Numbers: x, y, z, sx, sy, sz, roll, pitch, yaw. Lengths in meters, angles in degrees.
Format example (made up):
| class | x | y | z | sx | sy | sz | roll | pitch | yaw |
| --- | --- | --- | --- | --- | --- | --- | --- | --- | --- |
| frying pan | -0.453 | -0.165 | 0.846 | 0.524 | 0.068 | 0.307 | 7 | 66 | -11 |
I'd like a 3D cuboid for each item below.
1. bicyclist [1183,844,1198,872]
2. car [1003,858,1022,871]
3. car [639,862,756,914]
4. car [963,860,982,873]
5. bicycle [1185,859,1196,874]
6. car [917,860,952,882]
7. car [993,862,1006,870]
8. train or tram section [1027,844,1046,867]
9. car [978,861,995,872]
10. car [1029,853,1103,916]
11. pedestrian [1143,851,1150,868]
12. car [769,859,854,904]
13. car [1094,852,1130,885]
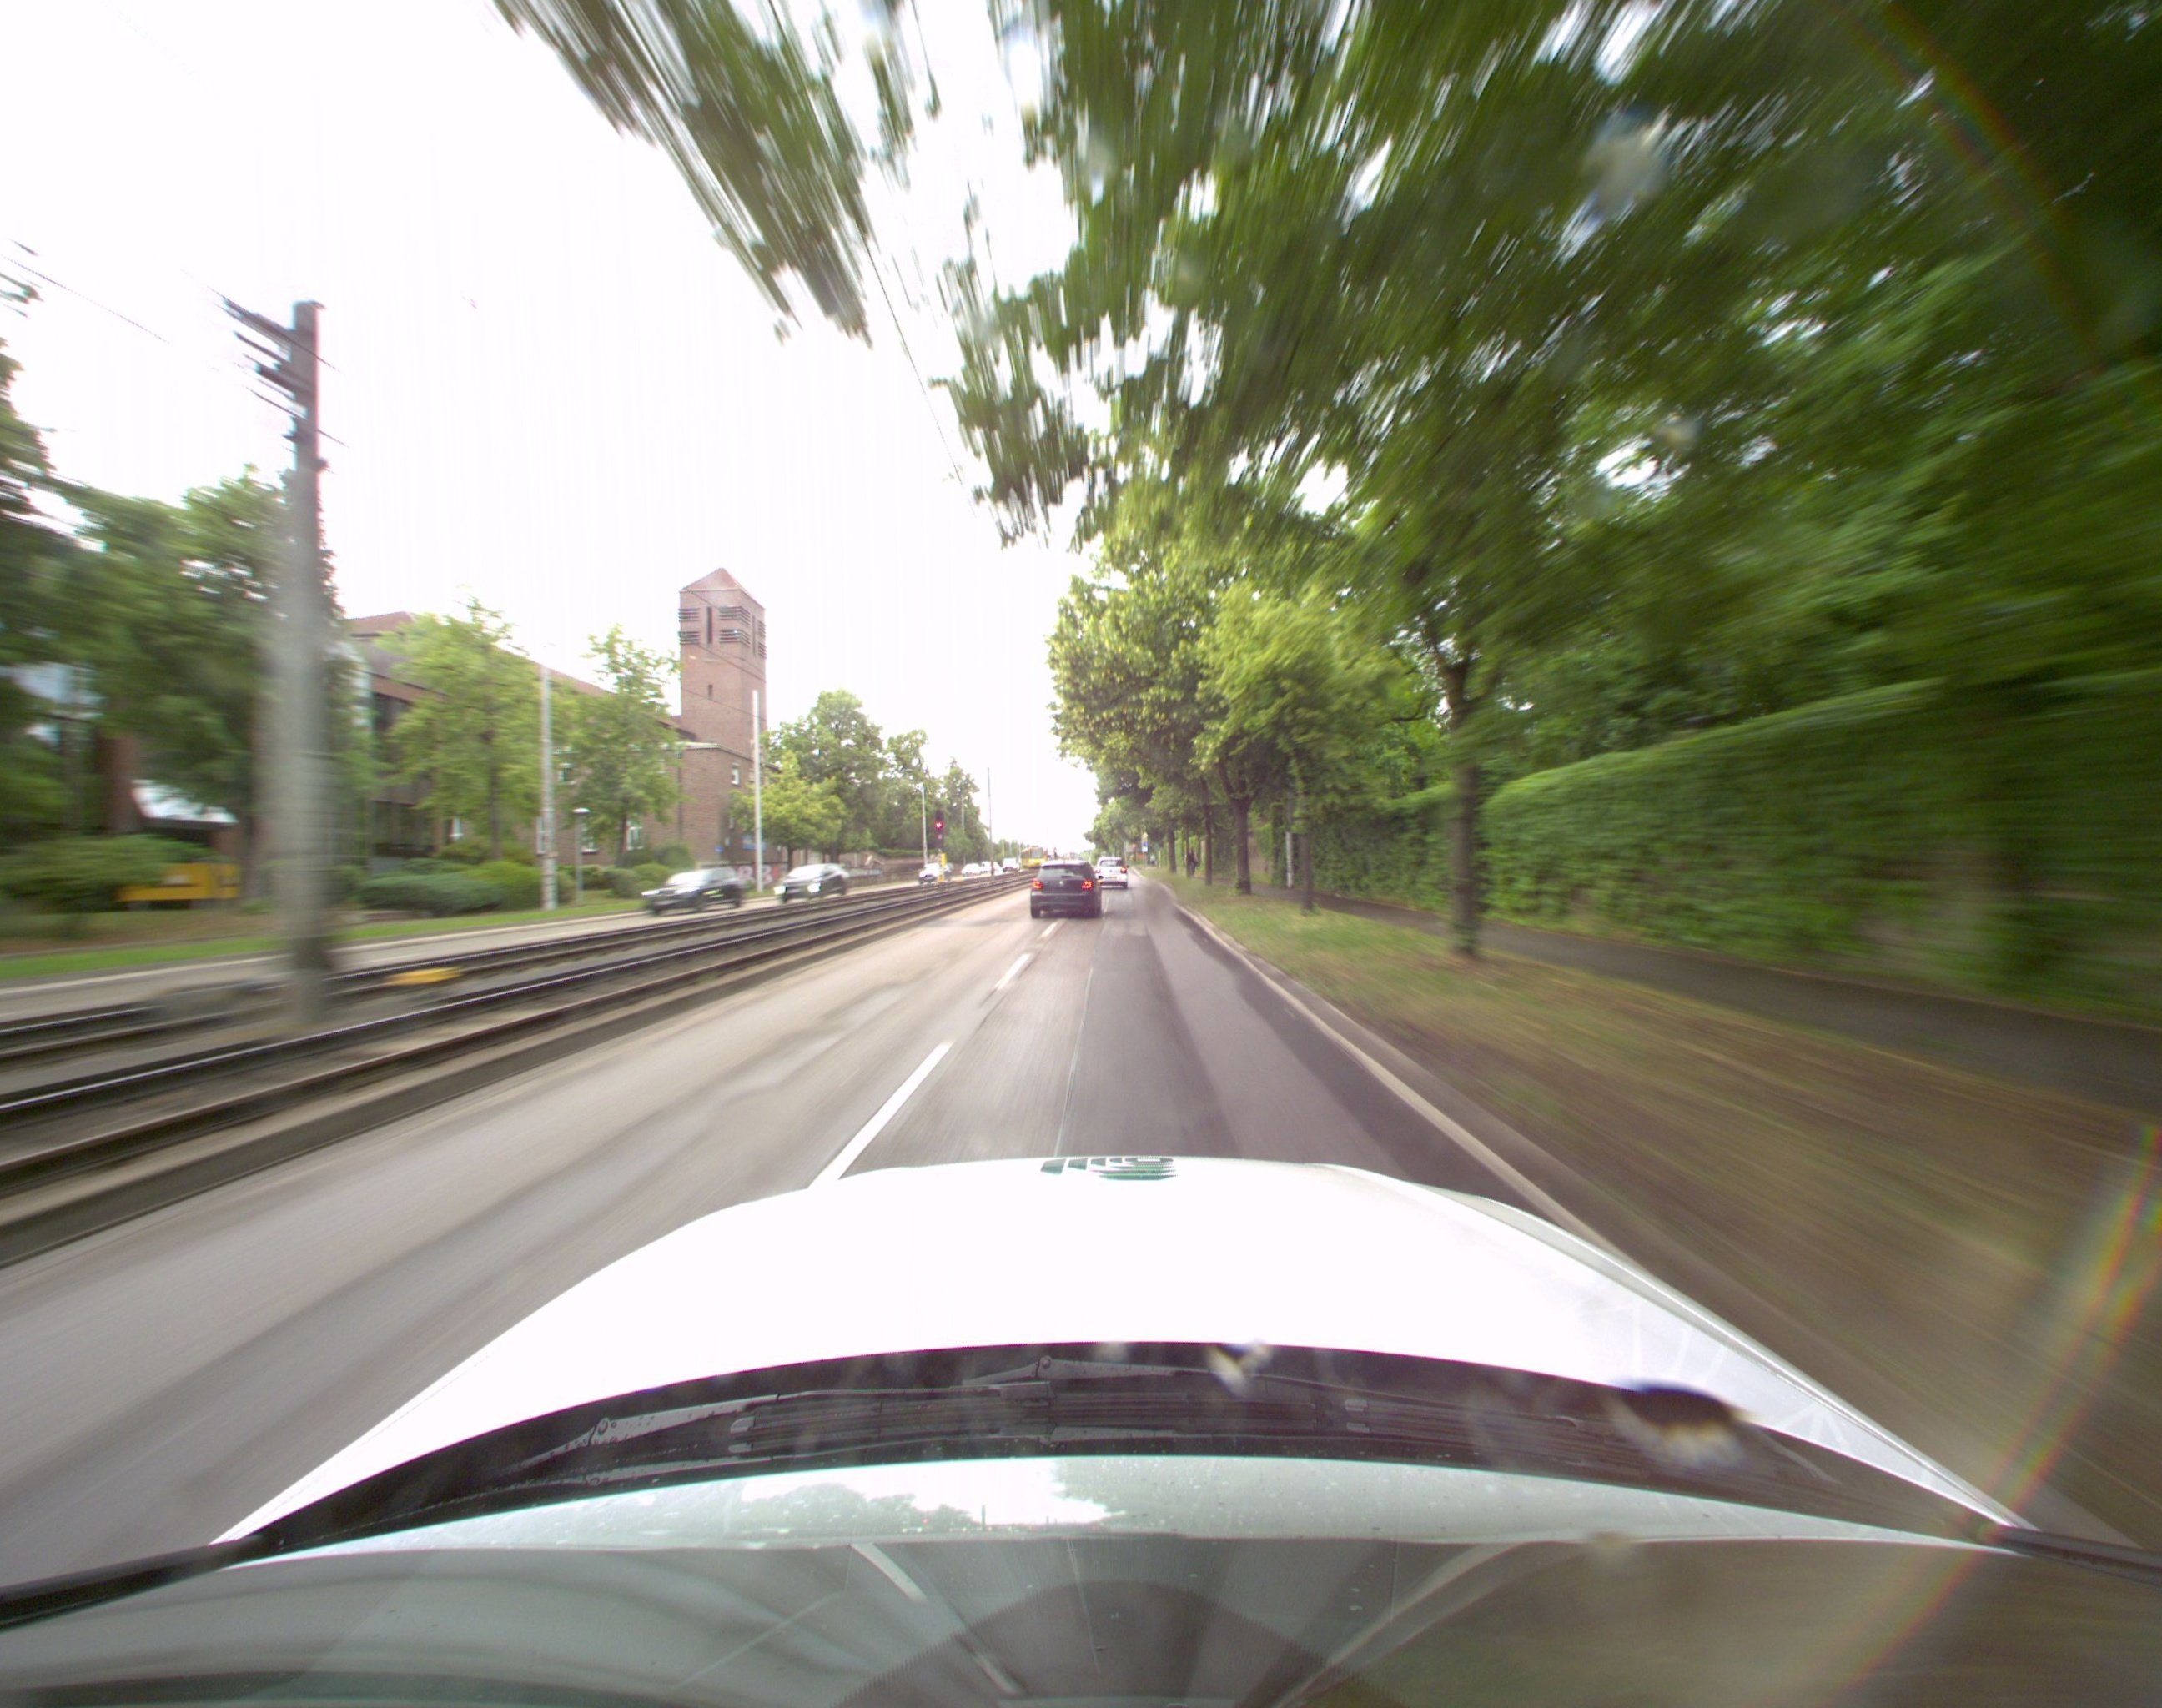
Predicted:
| class | x | y | z | sx | sy | sz | roll | pitch | yaw |
| --- | --- | --- | --- | --- | --- | --- | --- | --- | --- |
| bicyclist | 6.642 | 0.237 | 49.565 | 0.760 | 1.616 | 0.999 | -2 | 0 | 2 |
| car | -9.294 | 1.417 | 111.036 | 1.986 | 1.662 | 5.129 | -1 | 0 | 2 |
| car | -14.328 | 1.217 | 30.777 | 2.005 | 1.656 | 4.620 | -2 | 0 | 3 |
| car | -12.793 | 1.511 | 96.356 | 1.610 | 1.434 | 4.002 | -1 | 0 | 2 |
| bicycle | 6.650 | 0.746 | 49.562 | 0.406 | 0.902 | 2.100 | -2 | 0 | 2 |
| car | -10.500 | 1.181 | 58.547 | 1.674 | 1.461 | 3.611 | -2 | 0 | 3 |
| car | -12.914 | 1.896 | 128.803 | 1.552 | 1.338 | 3.650 | -1 | -1 | 2 |
| train or tram section | -7.406 | 0.217 | 136.532 | 2.823 | 3.605 | 9.267 | -1 | 0 | -1 |
| car | -13.006 | 1.693 | 112.411 | 1.722 | 1.443 | 4.002 | -1 | 0 | 2 |
| car | -0.330 | 0.741 | 21.793 | 1.787 | 1.485 | 3.965 | 0 | 0 | 1 |
| pedestrian | 11.171 | 0.921 | 139.266 | 1.159 | 2.977 | 0.948 | -1 | 0 | 1 |
| car | -11.282 | 1.109 | 34.438 | 1.826 | 1.656 | 4.245 | -2 | 0 | 5 |
| car | 1.549 | 0.694 | 40.507 | 1.669 | 1.531 | 3.724 | -2 | 0 | 3 |
